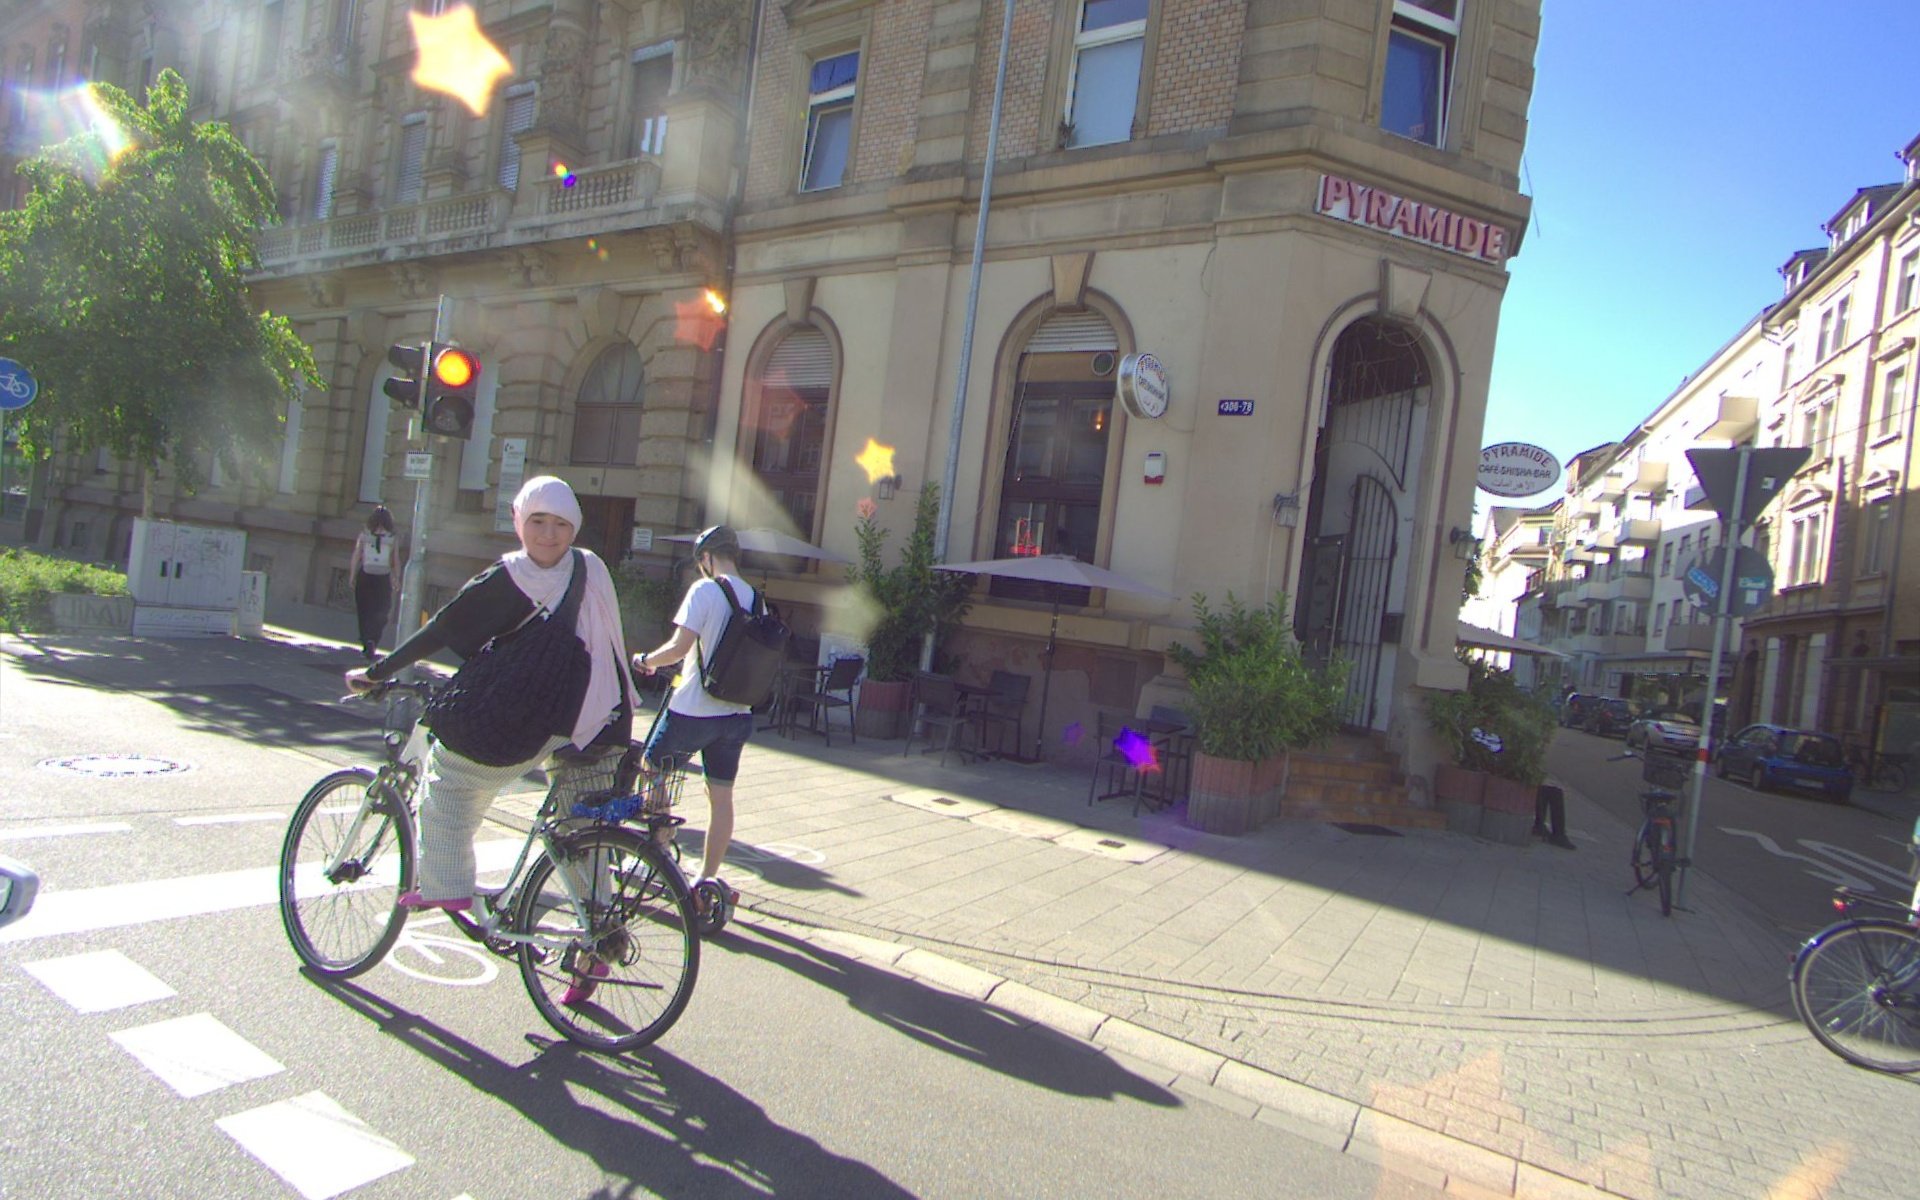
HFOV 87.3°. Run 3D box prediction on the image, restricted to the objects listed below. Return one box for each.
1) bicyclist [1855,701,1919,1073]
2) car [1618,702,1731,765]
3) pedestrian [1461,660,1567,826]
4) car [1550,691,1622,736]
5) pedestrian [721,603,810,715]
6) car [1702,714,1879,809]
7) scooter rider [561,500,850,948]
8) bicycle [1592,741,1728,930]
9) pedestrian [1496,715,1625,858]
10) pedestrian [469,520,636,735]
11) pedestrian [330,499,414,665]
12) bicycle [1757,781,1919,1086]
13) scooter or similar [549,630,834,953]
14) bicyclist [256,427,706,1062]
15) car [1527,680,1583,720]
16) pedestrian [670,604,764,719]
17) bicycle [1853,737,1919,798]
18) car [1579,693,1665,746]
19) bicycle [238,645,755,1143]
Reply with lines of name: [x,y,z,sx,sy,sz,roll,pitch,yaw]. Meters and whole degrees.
bicyclist: [4.890,1.359,4.579,0.944,1.659,0.667,7,1,31]
car: [21.825,4.030,30.900,1.769,1.350,4.000,9,0,22]
pedestrian: [6.614,1.680,12.064,0.852,1.781,0.909,7,-1,25]
car: [25.849,4.647,41.659,1.769,1.449,3.773,7,-1,22]
pedestrian: [-2.343,0.705,12.136,0.624,1.252,0.706,7,2,31]
car: [18.511,3.531,22.659,1.769,1.437,4.000,9,0,22]
scooter rider: [-1.207,0.541,4.812,0.886,1.882,0.668,7,-1,31]
bicycle: [5.694,1.840,8.210,0.643,1.186,1.818,11,2,35]
pedestrian: [6.107,1.867,10.296,0.917,1.228,0.852,7,-1,25]
pedestrian: [-3.797,0.262,9.447,0.952,1.809,0.868,7,-1,6]
pedestrian: [-7.376,-0.228,12.663,0.645,1.932,1.072,7,0,-26]
bicycle: [4.911,1.640,4.549,1.868,1.238,0.584,7,0,31]
scooter or similar: [-1.287,0.847,4.778,1.151,1.240,0.492,7,-2,31]
bicyclist: [-1.543,0.396,3.303,0.854,1.731,0.781,7,-2,31]
car: [30.122,5.026,51.018,1.769,1.685,3.772,7,-1,23]
pedestrian: [-2.763,0.692,11.465,0.624,1.193,0.706,7,2,31]
bicycle: [22.222,3.962,23.611,0.621,1.192,2.014,7,0,1]
car: [24.068,4.308,36.715,1.769,1.449,3.773,7,-1,22]
bicycle: [-1.607,0.831,3.371,1.762,1.105,0.558,7,-2,31]
